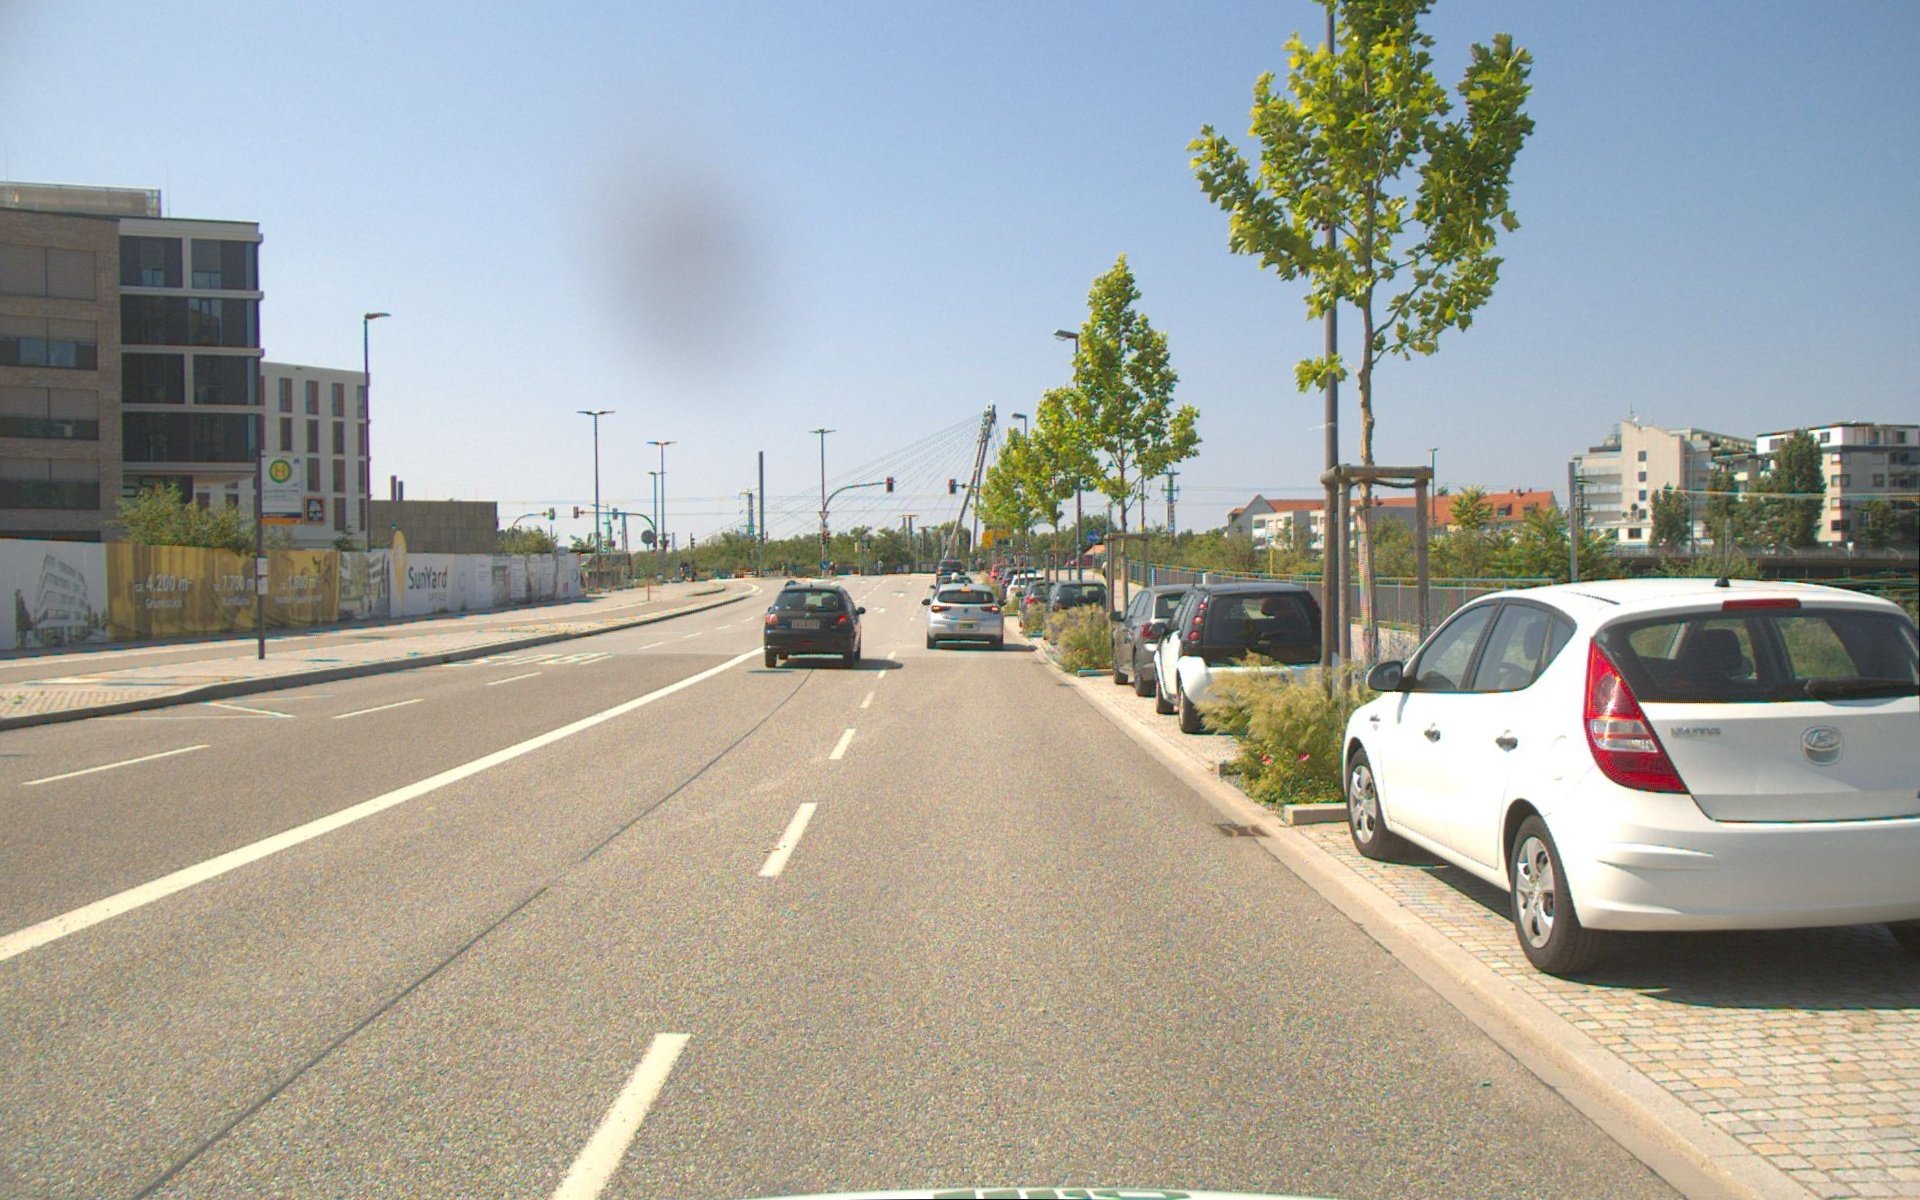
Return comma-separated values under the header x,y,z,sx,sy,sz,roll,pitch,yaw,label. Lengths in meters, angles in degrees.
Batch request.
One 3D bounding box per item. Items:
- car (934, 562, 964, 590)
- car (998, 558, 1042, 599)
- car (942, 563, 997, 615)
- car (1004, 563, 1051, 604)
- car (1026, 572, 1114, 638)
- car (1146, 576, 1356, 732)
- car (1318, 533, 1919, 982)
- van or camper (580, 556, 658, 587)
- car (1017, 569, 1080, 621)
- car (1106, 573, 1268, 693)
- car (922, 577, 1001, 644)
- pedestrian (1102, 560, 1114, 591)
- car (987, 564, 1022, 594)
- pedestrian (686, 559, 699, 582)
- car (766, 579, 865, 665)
x,y,z,sx,sy,sz,roll,pitch,yaw,label
-0.646,-1.429,99.166,1.742,1.596,4.000,-1,1,0,car
2.584,-0.940,72.065,1.785,1.644,3.612,-2,2,1,car
0.302,-0.401,54.992,1.742,1.596,4.001,-1,2,0,car
2.649,-0.663,65.409,1.662,1.501,4.206,-2,1,0,car
2.640,0.116,40.426,1.670,1.488,3.952,-2,0,-2,car
3.098,0.504,18.336,1.669,1.488,4.086,-1,1,1,car
3.008,0.510,7.750,1.711,1.535,4.000,-1,1,-1,car
-21.899,-1.836,106.299,1.965,1.930,4.689,0,1,42,van or camper
2.628,-0.165,49.821,1.669,1.426,4.270,-2,0,1,car
3.143,0.404,23.590,1.669,1.488,3.954,-2,1,-1,car
0.040,0.210,38.454,1.741,1.467,4.000,0,1,0,car
7.545,-1.248,84.303,0.522,1.603,0.524,1,0,0,pedestrian
2.388,-1.168,90.208,1.742,1.529,4.000,-1,1,0,car
-19.054,-2.110,117.951,0.828,1.675,0.827,0,1,-5,pedestrian
-2.609,0.357,30.493,1.587,1.441,3.726,-1,1,-2,car
